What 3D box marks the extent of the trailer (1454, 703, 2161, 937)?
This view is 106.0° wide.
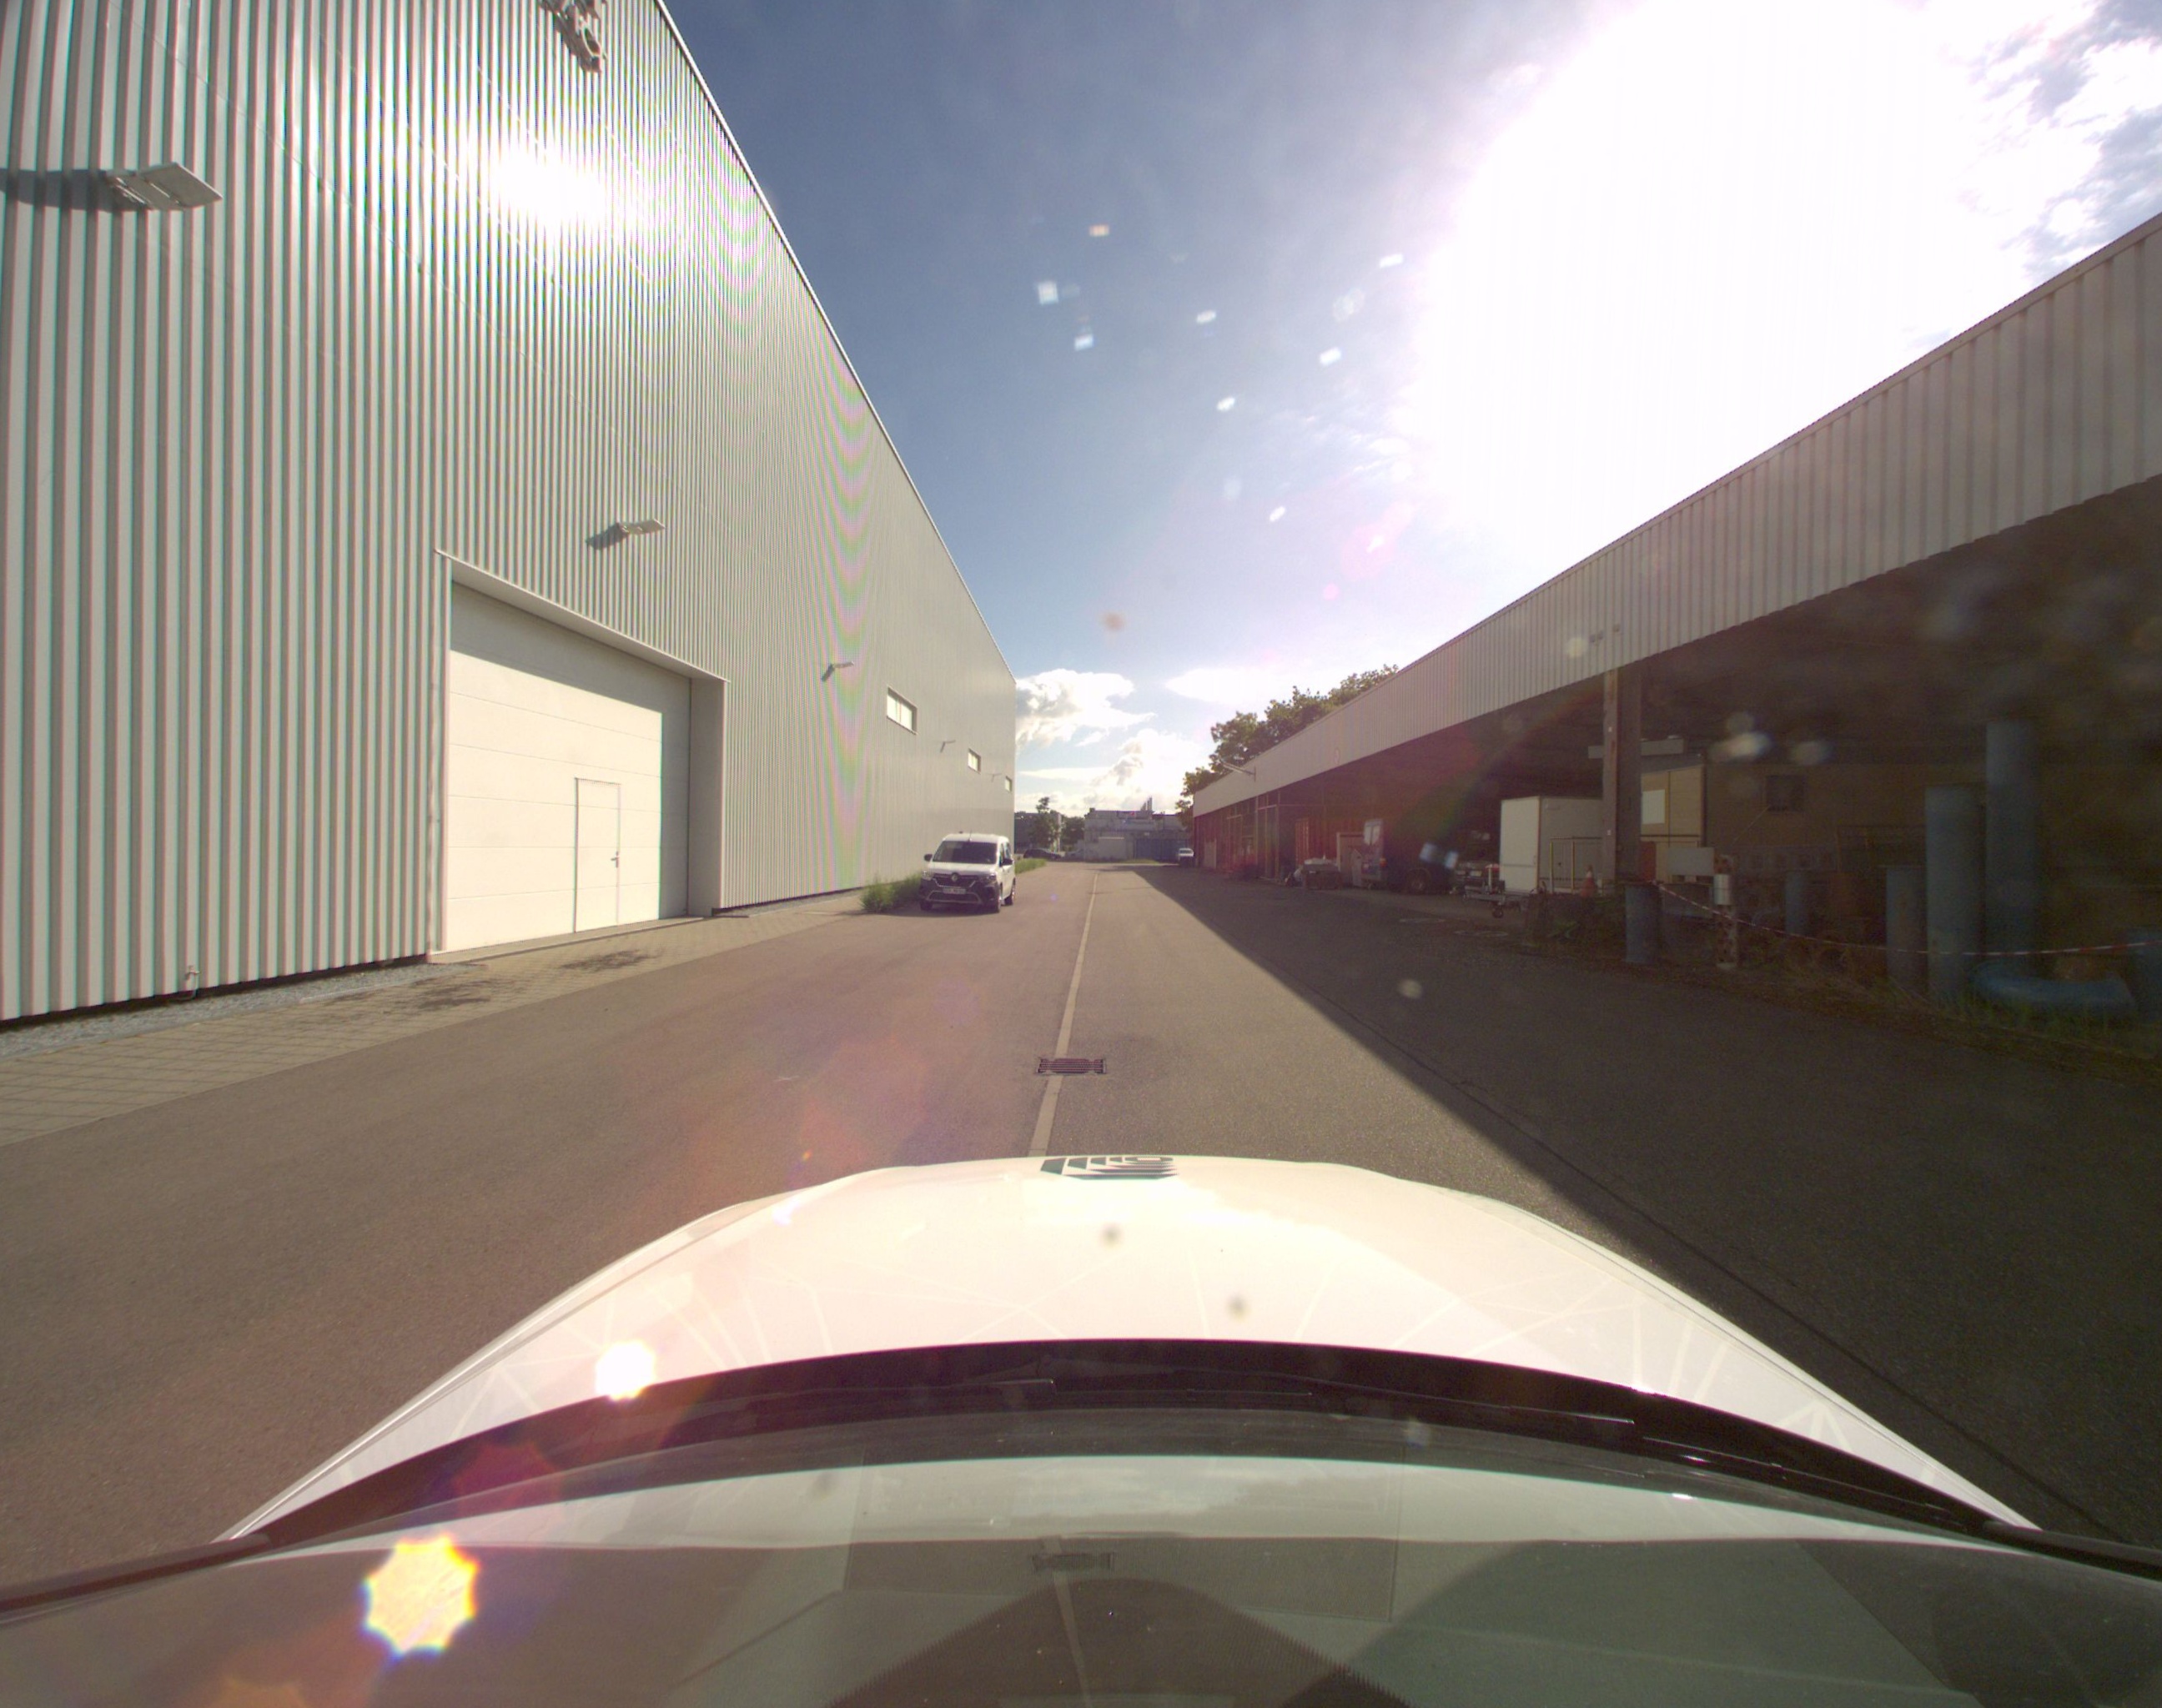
[{"bbox_3d":[11.993,-0.516,13.584,10.230,3.343,2.802,-1,0,1],"label":"trailer"}]

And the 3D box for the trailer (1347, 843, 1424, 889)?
[{"bbox_3d":[10.251,0.384,27.522,2.028,1.466,1.741,-1,0,5],"label":"trailer"}]

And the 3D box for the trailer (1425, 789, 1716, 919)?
[{"bbox_3d":[9.502,0.005,16.120,4.498,2.342,2.048,-1,0,2],"label":"trailer"}]

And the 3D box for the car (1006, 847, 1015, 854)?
[{"bbox_3d":[-16.990,-0.878,197.463,1.852,1.494,4.028,-1,0,0],"label":"car"}]

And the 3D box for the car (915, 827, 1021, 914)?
[{"bbox_3d":[-2.614,0.357,19.892,1.777,1.816,4.603,2,0,1],"label":"car"}]

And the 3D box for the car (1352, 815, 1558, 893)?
[{"bbox_3d":[11.299,-0.003,24.892,5.314,2.281,2.153,0,0,0],"label":"car"}]

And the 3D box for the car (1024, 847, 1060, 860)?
[{"bbox_3d":[-4.884,-0.042,101.910,4.432,1.531,1.824,-1,0,0],"label":"car"}]

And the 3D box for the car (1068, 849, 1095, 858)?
[{"bbox_3d":[0.064,-0.052,129.743,4.288,1.457,1.824,-1,0,0],"label":"car"}]

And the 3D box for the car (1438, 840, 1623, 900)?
[{"bbox_3d":[11.895,0.407,21.728,3.953,1.514,1.839,0,0,-2],"label":"car"}]

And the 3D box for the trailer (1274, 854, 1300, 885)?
[{"bbox_3d":[7.755,0.568,30.669,0.550,1.118,1.546,-1,0,0],"label":"trailer"}]

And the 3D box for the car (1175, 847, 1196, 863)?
[{"bbox_3d":[11.403,0.125,89.209,1.971,1.602,4.381,-1,1,3],"label":"car"}]

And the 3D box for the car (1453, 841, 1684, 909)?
[{"bbox_3d":[11.046,0.439,18.655,4.237,1.471,1.869,0,0,-2],"label":"car"}]
